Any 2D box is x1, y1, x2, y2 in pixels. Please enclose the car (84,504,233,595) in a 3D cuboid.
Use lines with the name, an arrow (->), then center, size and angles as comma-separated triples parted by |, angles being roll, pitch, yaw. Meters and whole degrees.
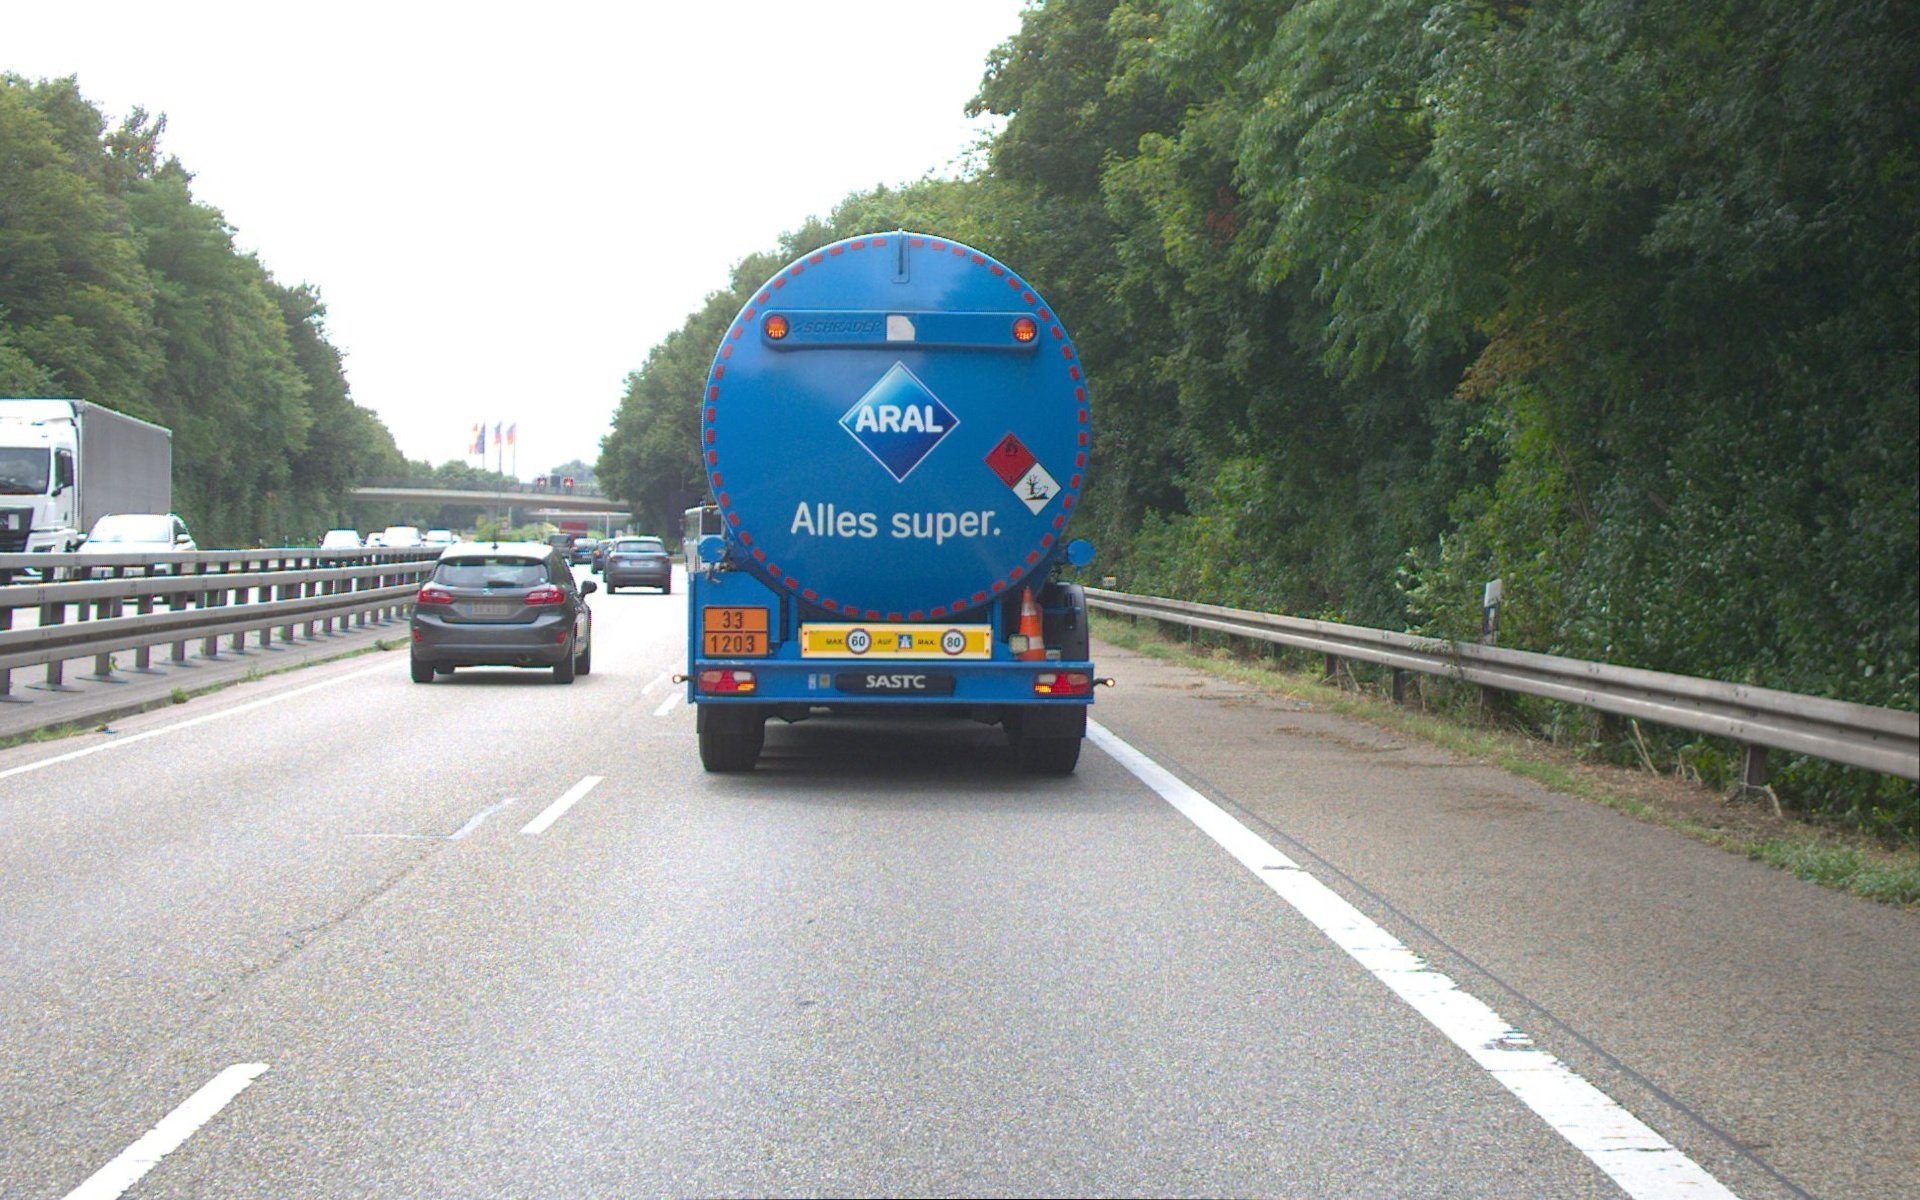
car -> -14.037, -0.889, 60.383 | 1.792, 1.544, 4.129 | 0, 1, -2

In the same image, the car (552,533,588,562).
car -> -21.244, -2.884, 187.165 | 1.954, 1.562, 4.001 | 0, 1, -7

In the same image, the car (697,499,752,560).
car -> -8.706, -2.602, 127.492 | 1.993, 2.237, 4.001 | 0, 1, -3

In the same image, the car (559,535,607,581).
car -> -16.376, -1.829, 149.200 | 1.993, 2.007, 4.001 | 0, 1, -7

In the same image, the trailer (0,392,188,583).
trailer -> -20.105, -2.472, 78.806 | 2.663, 4.032, 12.874 | 0, 1, -3

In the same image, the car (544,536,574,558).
car -> -29.058, -3.821, 249.060 | 1.993, 1.546, 4.001 | 0, 1, -5

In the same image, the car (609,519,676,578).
car -> -8.878, -1.433, 96.170 | 1.826, 1.604, 4.168 | 0, 1, -5

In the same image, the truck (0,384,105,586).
truck -> -19.687, -2.353, 71.688 | 2.692, 4.049, 5.323 | 0, 1, -4

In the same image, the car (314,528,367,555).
car -> -26.913, -2.536, 149.456 | 1.742, 1.185, 4.291 | 0, 1, -3

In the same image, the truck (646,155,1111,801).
truck -> -0.498, -0.806, 24.252 | 2.755, 3.833, 7.689 | 0, 1, 0

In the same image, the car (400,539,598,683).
car -> -4.911, 0.076, 37.115 | 1.826, 1.453, 4.640 | 0, 1, -4
